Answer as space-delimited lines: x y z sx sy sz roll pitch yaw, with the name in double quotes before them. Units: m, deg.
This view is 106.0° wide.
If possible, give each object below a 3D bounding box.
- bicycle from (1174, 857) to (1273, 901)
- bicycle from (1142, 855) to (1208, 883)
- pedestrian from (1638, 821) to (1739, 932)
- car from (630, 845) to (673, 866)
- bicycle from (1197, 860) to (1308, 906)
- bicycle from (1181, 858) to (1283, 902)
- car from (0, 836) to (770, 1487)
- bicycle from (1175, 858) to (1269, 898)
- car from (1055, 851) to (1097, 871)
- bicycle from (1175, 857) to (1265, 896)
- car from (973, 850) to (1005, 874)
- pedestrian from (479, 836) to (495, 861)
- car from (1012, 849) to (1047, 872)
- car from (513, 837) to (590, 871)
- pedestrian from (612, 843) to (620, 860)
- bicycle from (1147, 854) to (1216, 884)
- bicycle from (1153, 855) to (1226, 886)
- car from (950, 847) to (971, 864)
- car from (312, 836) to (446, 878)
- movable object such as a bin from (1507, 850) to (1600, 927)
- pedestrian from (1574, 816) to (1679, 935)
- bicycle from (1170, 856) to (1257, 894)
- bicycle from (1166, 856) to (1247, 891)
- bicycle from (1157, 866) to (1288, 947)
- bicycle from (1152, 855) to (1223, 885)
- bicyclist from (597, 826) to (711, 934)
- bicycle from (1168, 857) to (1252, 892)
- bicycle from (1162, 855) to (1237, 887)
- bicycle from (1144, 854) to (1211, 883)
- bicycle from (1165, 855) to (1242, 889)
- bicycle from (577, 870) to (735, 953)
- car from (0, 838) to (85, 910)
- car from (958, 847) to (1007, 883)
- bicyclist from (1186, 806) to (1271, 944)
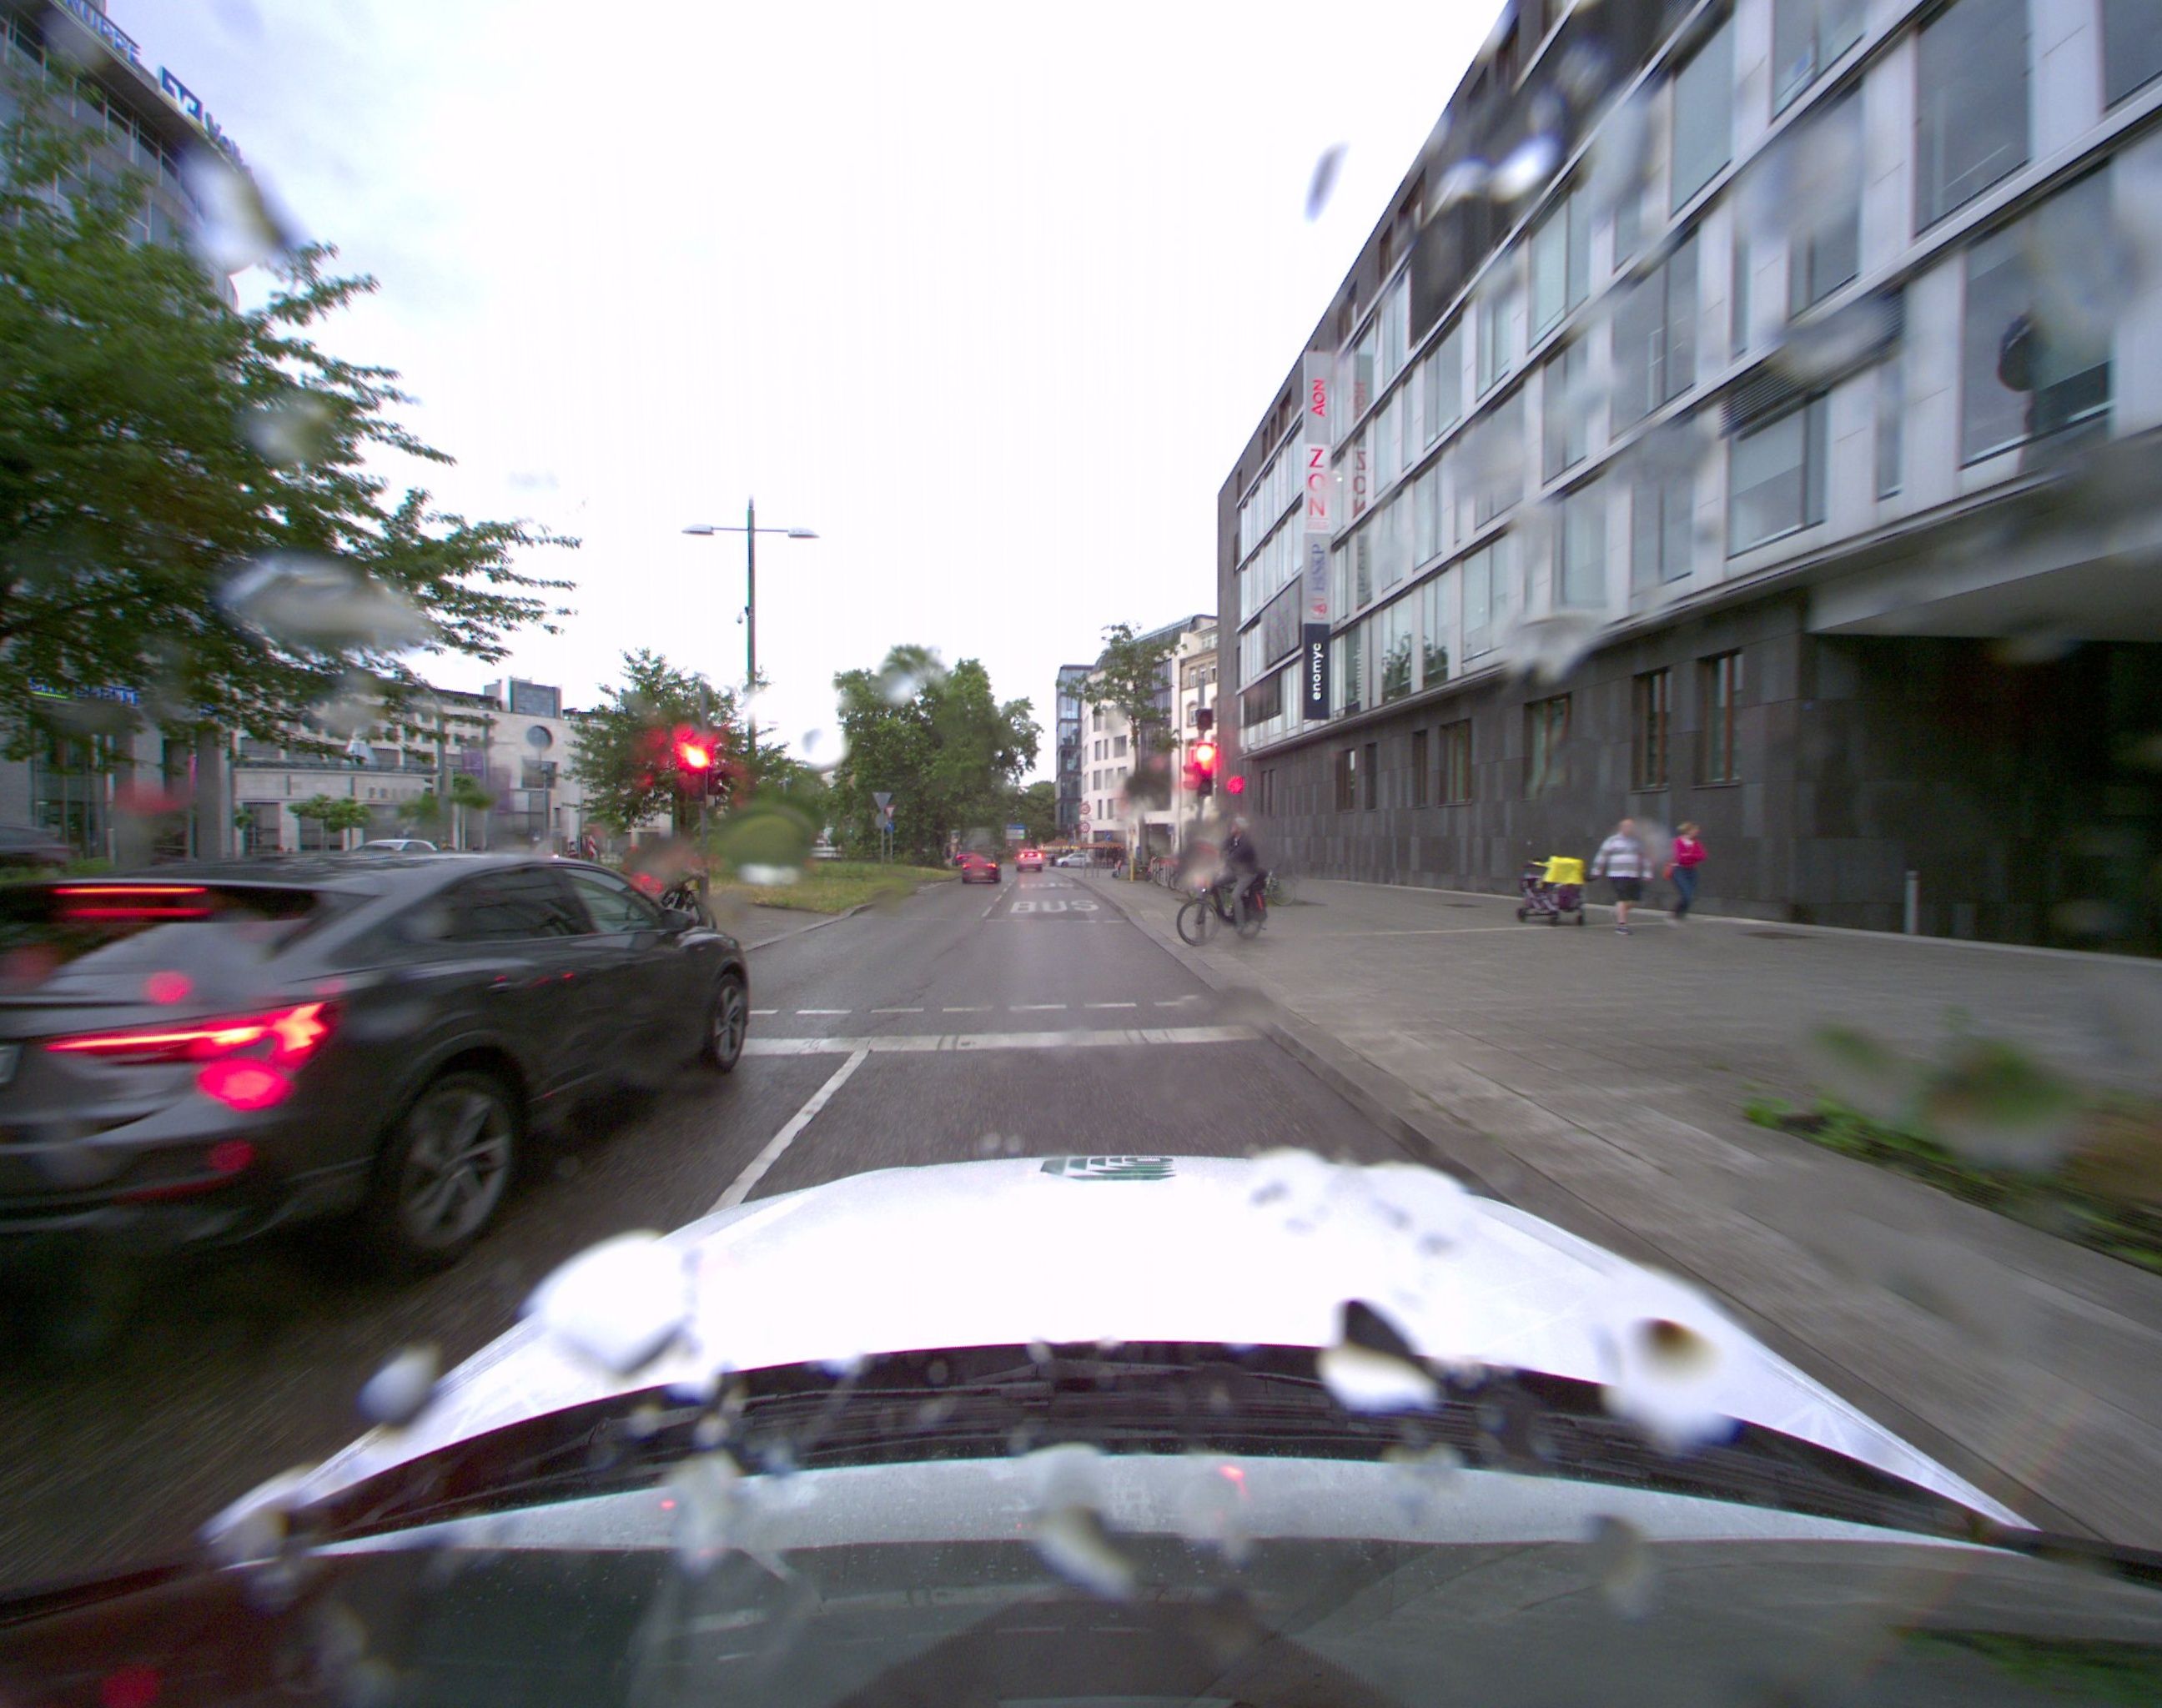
"bicycle" 3.828 0.664 21.918 2.531 1.087 0.676 2 0 -5
"bicycle" 3.762 0.587 32.708 2.531 1.087 0.626 -1 0 -5
"pedestrian" 9.824 0.341 13.217 0.717 1.690 1.098 -3 0 -5
"car" -32.640 0.115 62.021 1.806 1.486 3.984 2 0 -12
"bicycle" 4.126 0.694 19.639 2.531 1.057 0.676 -1 0 -5
"bicycle" 3.903 0.662 21.115 2.531 1.087 0.676 0 0 -5
"car" -3.258 0.737 4.123 1.843 1.616 4.249 1 1 -2
"bicycle" 3.990 0.663 23.145 2.531 1.087 0.676 -1 0 -5
"car" -0.503 0.677 79.685 3.978 1.647 1.998 4 0 -3
"bicycle" 4.091 0.641 24.000 2.531 1.087 0.676 -1 0 -5
"car" -6.796 0.552 59.971 1.946 1.646 4.228 0 0 -12
"pedestrian" -42.483 -0.413 58.208 0.620 1.763 0.722 -3 0 -13
"car" -4.038 0.478 63.080 2.181 1.700 3.984 0 0 -12
"car" -28.467 -0.003 43.951 1.724 1.727 4.569 0 0 -9
"pedestrian" -56.224 -0.272 98.519 0.794 2.013 0.733 2 0 -30
"bicycle" 3.840 0.567 31.240 2.531 1.087 0.676 -1 0 -5
"bicycle" 3.925 0.597 29.599 2.531 1.087 0.676 -1 0 -5
"car" -12.033 0.160 81.375 1.945 1.646 3.986 0 0 -10
"car" -25.952 0.094 30.311 1.819 1.475 4.181 0 0 -9
"movable object such as a bin" 8.419 0.580 14.579 0.729 1.264 1.443 -3 0 -3
"pedestrian" 8.719 0.326 13.065 0.898 1.792 1.045 -3 0 -5
"bicycle" 4.037 0.635 24.810 2.531 1.087 0.676 -1 0 -5
"bicycle" 4.076 0.619 26.586 2.531 1.087 0.676 -1 0 -5
"bicycle" 2.261 0.781 12.870 2.142 1.145 0.754 -1 0 -36
"bicycle" 3.962 0.579 30.351 2.531 1.087 0.676 -1 0 -5
"bicyclist" -6.670 0.386 12.757 1.123 1.582 1.020 2 0 20
"bicycle" 4.045 0.636 25.677 2.531 1.060 0.676 -1 0 -5
"bicycle" 4.162 0.598 28.761 2.531 1.087 0.676 -1 0 -5
"bicycle" 3.795 0.579 31.987 2.531 1.087 0.676 -1 0 -5
"bicycle" 4.171 0.601 27.783 2.531 1.087 0.676 -1 0 -5
"bicycle" -6.628 0.855 12.729 2.044 1.114 1.017 2 0 19
"car" -23.204 0.413 16.332 1.867 1.475 3.988 0 0 -9
"car" -4.858 0.506 40.816 2.157 1.706 4.548 0 0 -3
"bicyclist" 2.346 0.314 12.943 1.090 2.083 0.754 0 -1 -36
